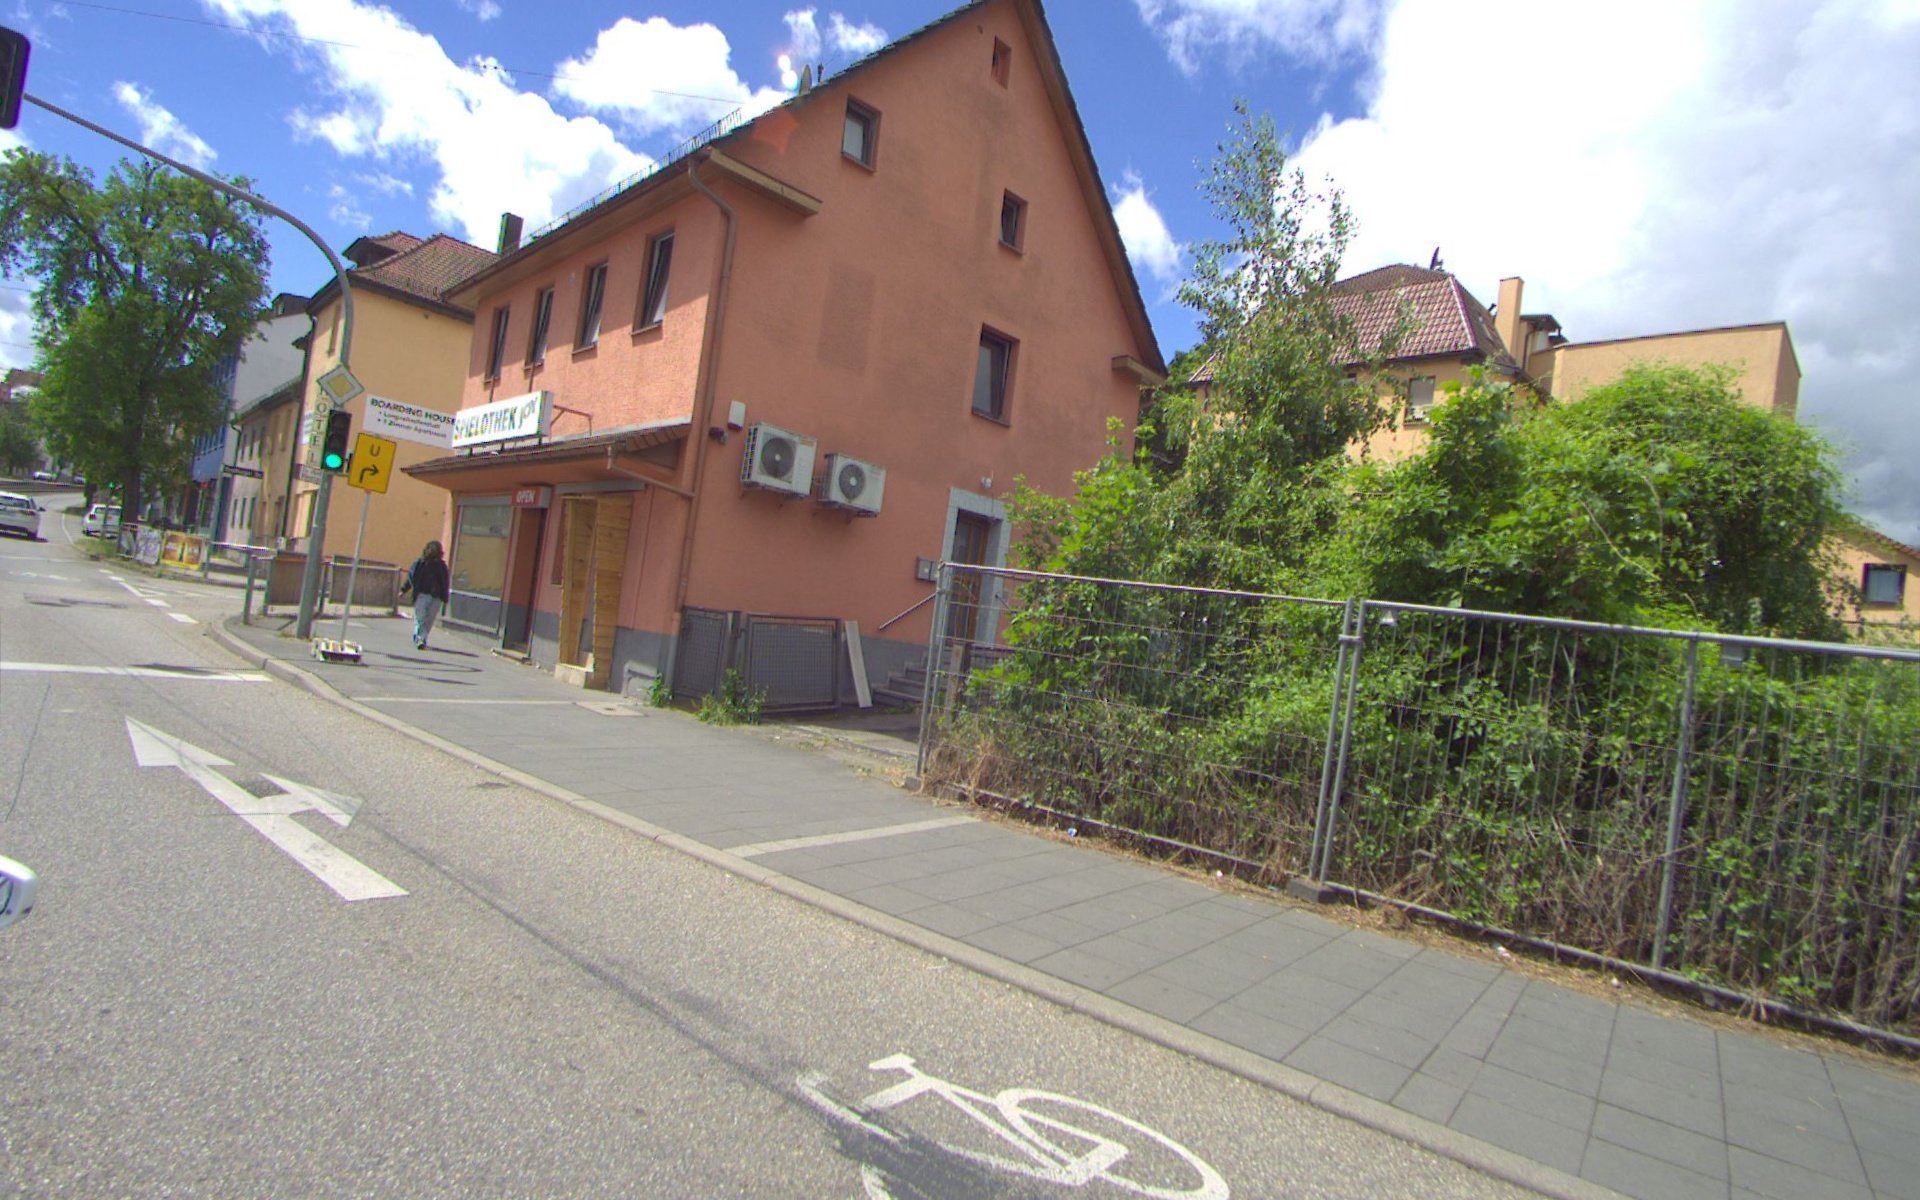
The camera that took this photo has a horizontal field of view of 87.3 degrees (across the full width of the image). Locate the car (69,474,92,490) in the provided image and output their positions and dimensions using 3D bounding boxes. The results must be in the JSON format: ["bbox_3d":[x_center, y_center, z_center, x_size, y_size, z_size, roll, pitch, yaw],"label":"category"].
[{"bbox_3d":[-140.579,-18.863,160.812,1.980,2.038,3.966,7,-1,-33],"label":"car"}]

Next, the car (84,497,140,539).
[{"bbox_3d":[-39.448,-3.790,46.775,1.781,1.615,3.954,7,-1,-42],"label":"car"}]

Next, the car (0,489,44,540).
[{"bbox_3d":[-33.240,-3.090,34.928,3.949,1.484,1.814,7,-4,45],"label":"car"}]

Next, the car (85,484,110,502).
[{"bbox_3d":[-91.579,-11.319,106.797,1.811,1.484,3.955,11,-3,-40],"label":"car"}]

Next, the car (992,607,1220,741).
[{"bbox_3d":[2.050,0.984,13.867,2.794,1.516,1.628,4,2,-44],"label":"car"}]

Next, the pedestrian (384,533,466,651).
[{"bbox_3d":[-8.169,-0.115,15.358,0.762,1.663,0.768,7,1,-44],"label":"pedestrian"}]

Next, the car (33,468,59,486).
[{"bbox_3d":[-129.894,-17.484,142.974,1.980,2.038,3.966,7,-1,-33],"label":"car"}]
